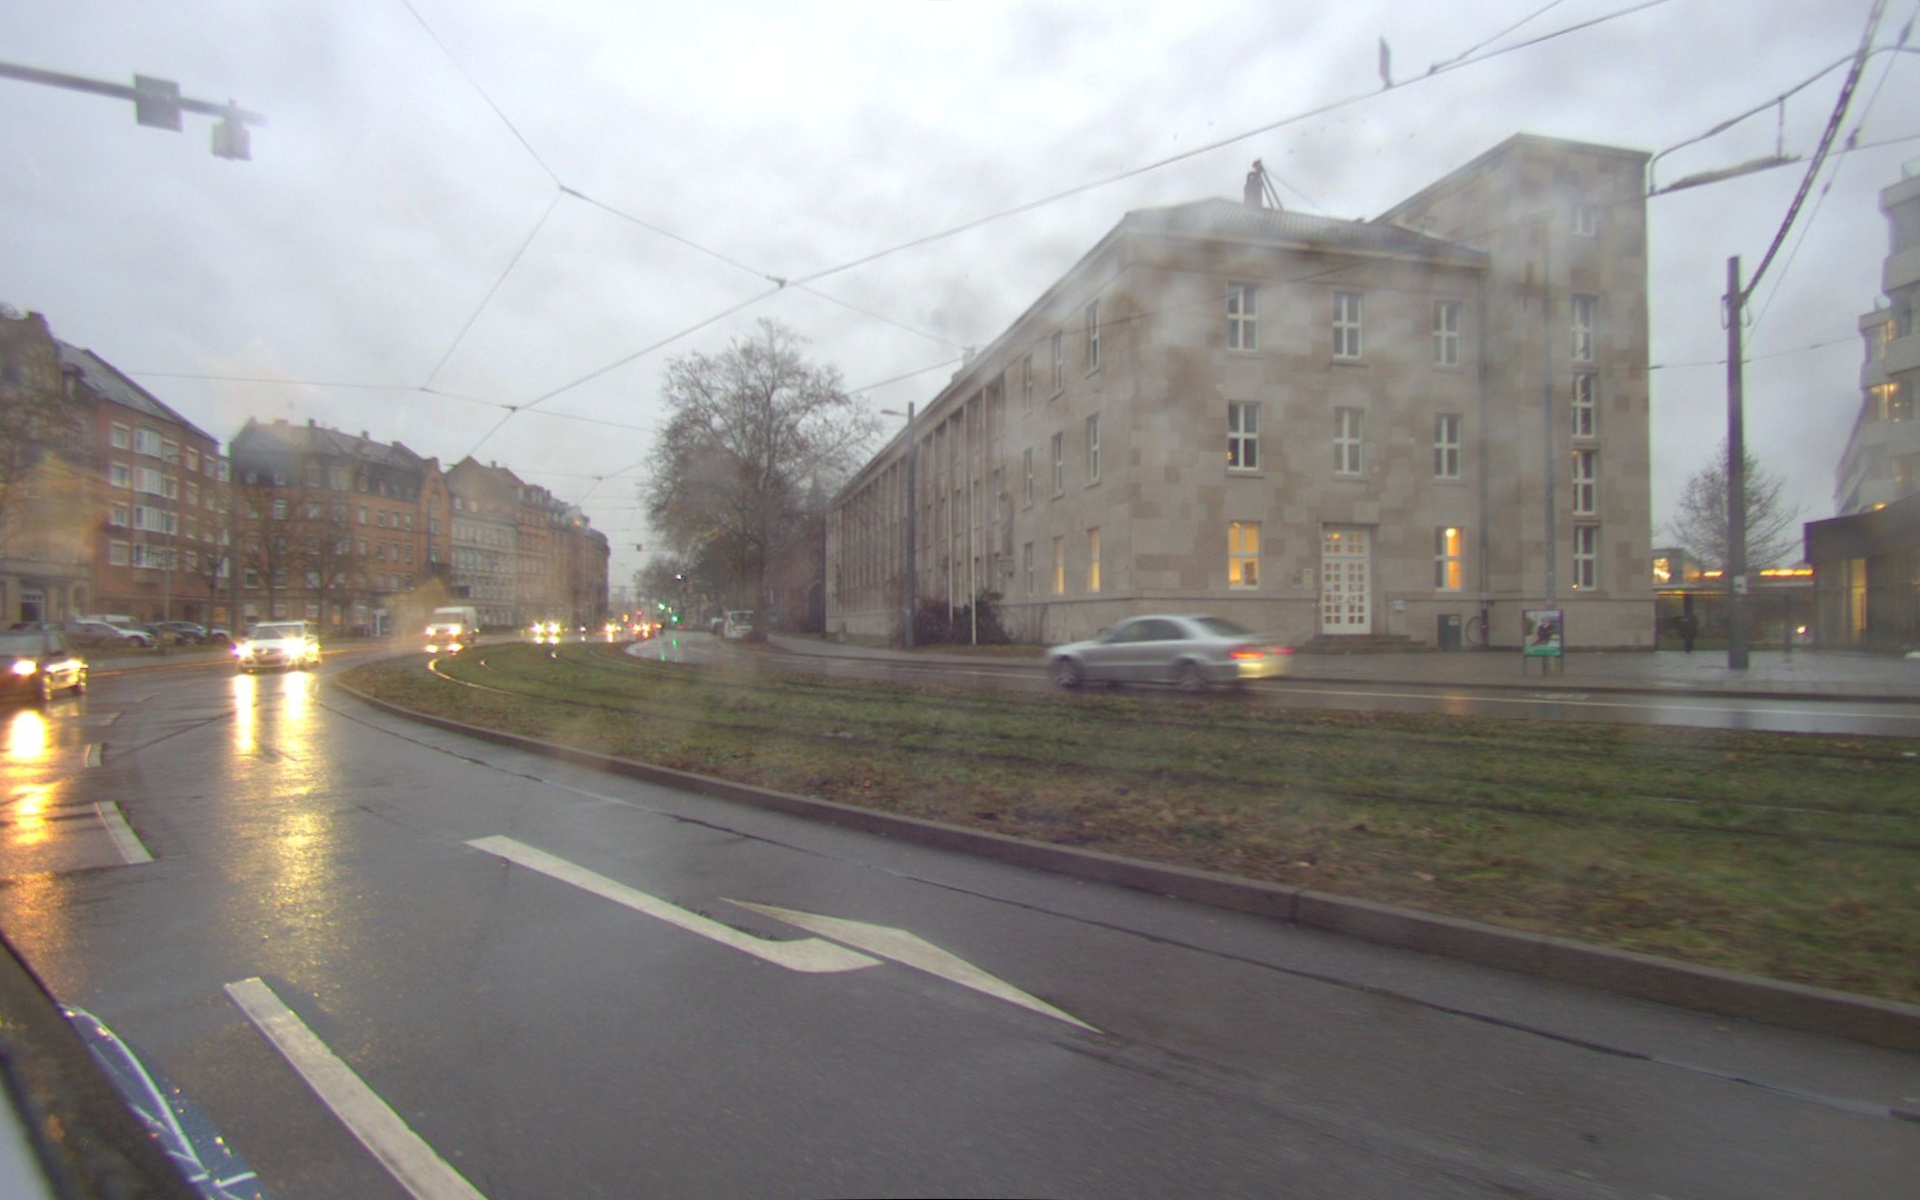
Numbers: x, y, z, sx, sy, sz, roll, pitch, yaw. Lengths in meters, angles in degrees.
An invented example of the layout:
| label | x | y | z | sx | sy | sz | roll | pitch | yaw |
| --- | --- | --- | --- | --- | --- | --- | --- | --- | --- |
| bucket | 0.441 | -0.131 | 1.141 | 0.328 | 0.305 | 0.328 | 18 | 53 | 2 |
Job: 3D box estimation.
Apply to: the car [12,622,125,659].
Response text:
| label | x | y | z | sx | sy | sz | roll | pitch | yaw |
| --- | --- | --- | --- | --- | --- | --- | --- | --- | --- |
| car | -40.767 | 1.823 | 46.325 | 3.816 | 1.416 | 1.696 | -2 | 0 | -44 |

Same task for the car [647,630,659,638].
| label | x | y | z | sx | sy | sz | roll | pitch | yaw |
| --- | --- | --- | --- | --- | --- | --- | --- | --- | --- |
| car | -70.260 | 7.786 | 231.787 | 1.923 | 1.829 | 4.006 | 0 | -1 | -7 |

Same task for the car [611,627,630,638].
| label | x | y | z | sx | sy | sz | roll | pitch | yaw |
| --- | --- | --- | --- | --- | --- | --- | --- | --- | --- |
| car | -48.666 | 4.650 | 144.982 | 1.867 | 1.424 | 3.953 | 0 | -2 | -8 |

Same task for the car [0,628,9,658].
| label | x | y | z | sx | sy | sz | roll | pitch | yaw |
| --- | --- | --- | --- | --- | --- | --- | --- | --- | --- |
| car | -50.474 | 2.188 | 51.341 | 1.449 | 1.555 | 3.881 | 0 | -2 | -12 |

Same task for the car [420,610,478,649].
| label | x | y | z | sx | sy | sz | roll | pitch | yaw |
| --- | --- | --- | --- | --- | --- | --- | --- | --- | --- |
| car | -34.518 | 1.947 | 68.502 | 2.096 | 2.398 | 5.652 | -2 | 0 | -12 |

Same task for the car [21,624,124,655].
| label | x | y | z | sx | sy | sz | roll | pitch | yaw |
| --- | --- | --- | --- | --- | --- | --- | --- | --- | --- |
| car | -43.559 | 1.938 | 49.776 | 3.706 | 1.341 | 1.605 | -2 | 0 | -39 |

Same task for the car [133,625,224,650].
| label | x | y | z | sx | sy | sz | roll | pitch | yaw |
| --- | --- | --- | --- | --- | --- | --- | --- | --- | --- |
| car | -41.857 | 1.994 | 54.244 | 3.711 | 1.288 | 1.602 | 1 | -3 | -45 |

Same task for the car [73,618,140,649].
| label | x | y | z | sx | sy | sz | roll | pitch | yaw |
| --- | --- | --- | --- | --- | --- | --- | --- | --- | --- |
| car | -53.314 | 2.069 | 63.291 | 1.648 | 1.716 | 3.473 | -2 | 0 | -11 |

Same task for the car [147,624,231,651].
| label | x | y | z | sx | sy | sz | roll | pitch | yaw |
| --- | --- | --- | --- | --- | --- | --- | --- | --- | --- |
| car | -43.779 | 2.111 | 57.512 | 3.706 | 1.364 | 1.605 | -2 | 0 | -39 |

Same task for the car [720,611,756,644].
| label | x | y | z | sx | sy | sz | roll | pitch | yaw |
| --- | --- | --- | --- | --- | --- | --- | --- | --- | --- |
| car | -14.471 | 1.741 | 65.945 | 1.966 | 2.029 | 4.522 | -2 | 0 | -16 |

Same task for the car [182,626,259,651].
| label | x | y | z | sx | sy | sz | roll | pitch | yaw |
| --- | --- | --- | --- | --- | --- | --- | --- | --- | --- |
| car | -44.629 | 2.300 | 61.116 | 3.706 | 1.364 | 1.605 | -2 | 0 | -39 |

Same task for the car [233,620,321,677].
| label | x | y | z | sx | sy | sz | roll | pitch | yaw |
| --- | --- | --- | --- | --- | --- | --- | --- | --- | --- |
| car | -22.522 | 1.538 | 33.525 | 1.646 | 1.672 | 4.161 | -2 | 0 | -24 |

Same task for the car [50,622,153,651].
| label | x | y | z | sx | sy | sz | roll | pitch | yaw |
| --- | --- | --- | --- | --- | --- | --- | --- | --- | --- |
| car | -41.619 | 1.755 | 49.172 | 3.706 | 1.343 | 1.605 | 1 | -2 | -39 |

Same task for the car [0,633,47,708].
| label | x | y | z | sx | sy | sz | roll | pitch | yaw |
| --- | --- | --- | --- | --- | --- | --- | --- | --- | --- |
| car | -19.715 | 1.388 | 20.517 | 3.135 | 1.437 | 1.568 | -2 | -2 | 44 |

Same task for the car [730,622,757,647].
| label | x | y | z | sx | sy | sz | roll | pitch | yaw |
| --- | --- | --- | --- | --- | --- | --- | --- | --- | --- |
| car | -13.209 | 2.105 | 61.665 | 1.535 | 1.439 | 2.963 | 0 | 0 | -14 |

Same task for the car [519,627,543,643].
| label | x | y | z | sx | sy | sz | roll | pitch | yaw |
| --- | --- | --- | --- | --- | --- | --- | --- | --- | --- |
| car | -48.361 | 3.965 | 114.054 | 1.625 | 1.763 | 3.560 | 0 | -2 | -8 |

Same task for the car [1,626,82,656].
| label | x | y | z | sx | sy | sz | roll | pitch | yaw |
| --- | --- | --- | --- | --- | --- | --- | --- | --- | --- |
| car | -52.172 | 2.298 | 57.577 | 1.666 | 1.554 | 4.010 | -2 | 0 | -12 |

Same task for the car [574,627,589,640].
| label | x | y | z | sx | sy | sz | roll | pitch | yaw |
| --- | --- | --- | --- | --- | --- | --- | --- | --- | --- |
| car | -50.754 | 4.488 | 135.895 | 1.694 | 1.630 | 3.950 | 0 | -2 | -18 |

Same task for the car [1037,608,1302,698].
| label | x | y | z | sx | sy | sz | roll | pitch | yaw |
| --- | --- | --- | --- | --- | --- | --- | --- | --- | --- |
| car | 3.856 | 0.962 | 19.236 | 4.656 | 1.446 | 1.801 | -2 | 0 | 44 |
